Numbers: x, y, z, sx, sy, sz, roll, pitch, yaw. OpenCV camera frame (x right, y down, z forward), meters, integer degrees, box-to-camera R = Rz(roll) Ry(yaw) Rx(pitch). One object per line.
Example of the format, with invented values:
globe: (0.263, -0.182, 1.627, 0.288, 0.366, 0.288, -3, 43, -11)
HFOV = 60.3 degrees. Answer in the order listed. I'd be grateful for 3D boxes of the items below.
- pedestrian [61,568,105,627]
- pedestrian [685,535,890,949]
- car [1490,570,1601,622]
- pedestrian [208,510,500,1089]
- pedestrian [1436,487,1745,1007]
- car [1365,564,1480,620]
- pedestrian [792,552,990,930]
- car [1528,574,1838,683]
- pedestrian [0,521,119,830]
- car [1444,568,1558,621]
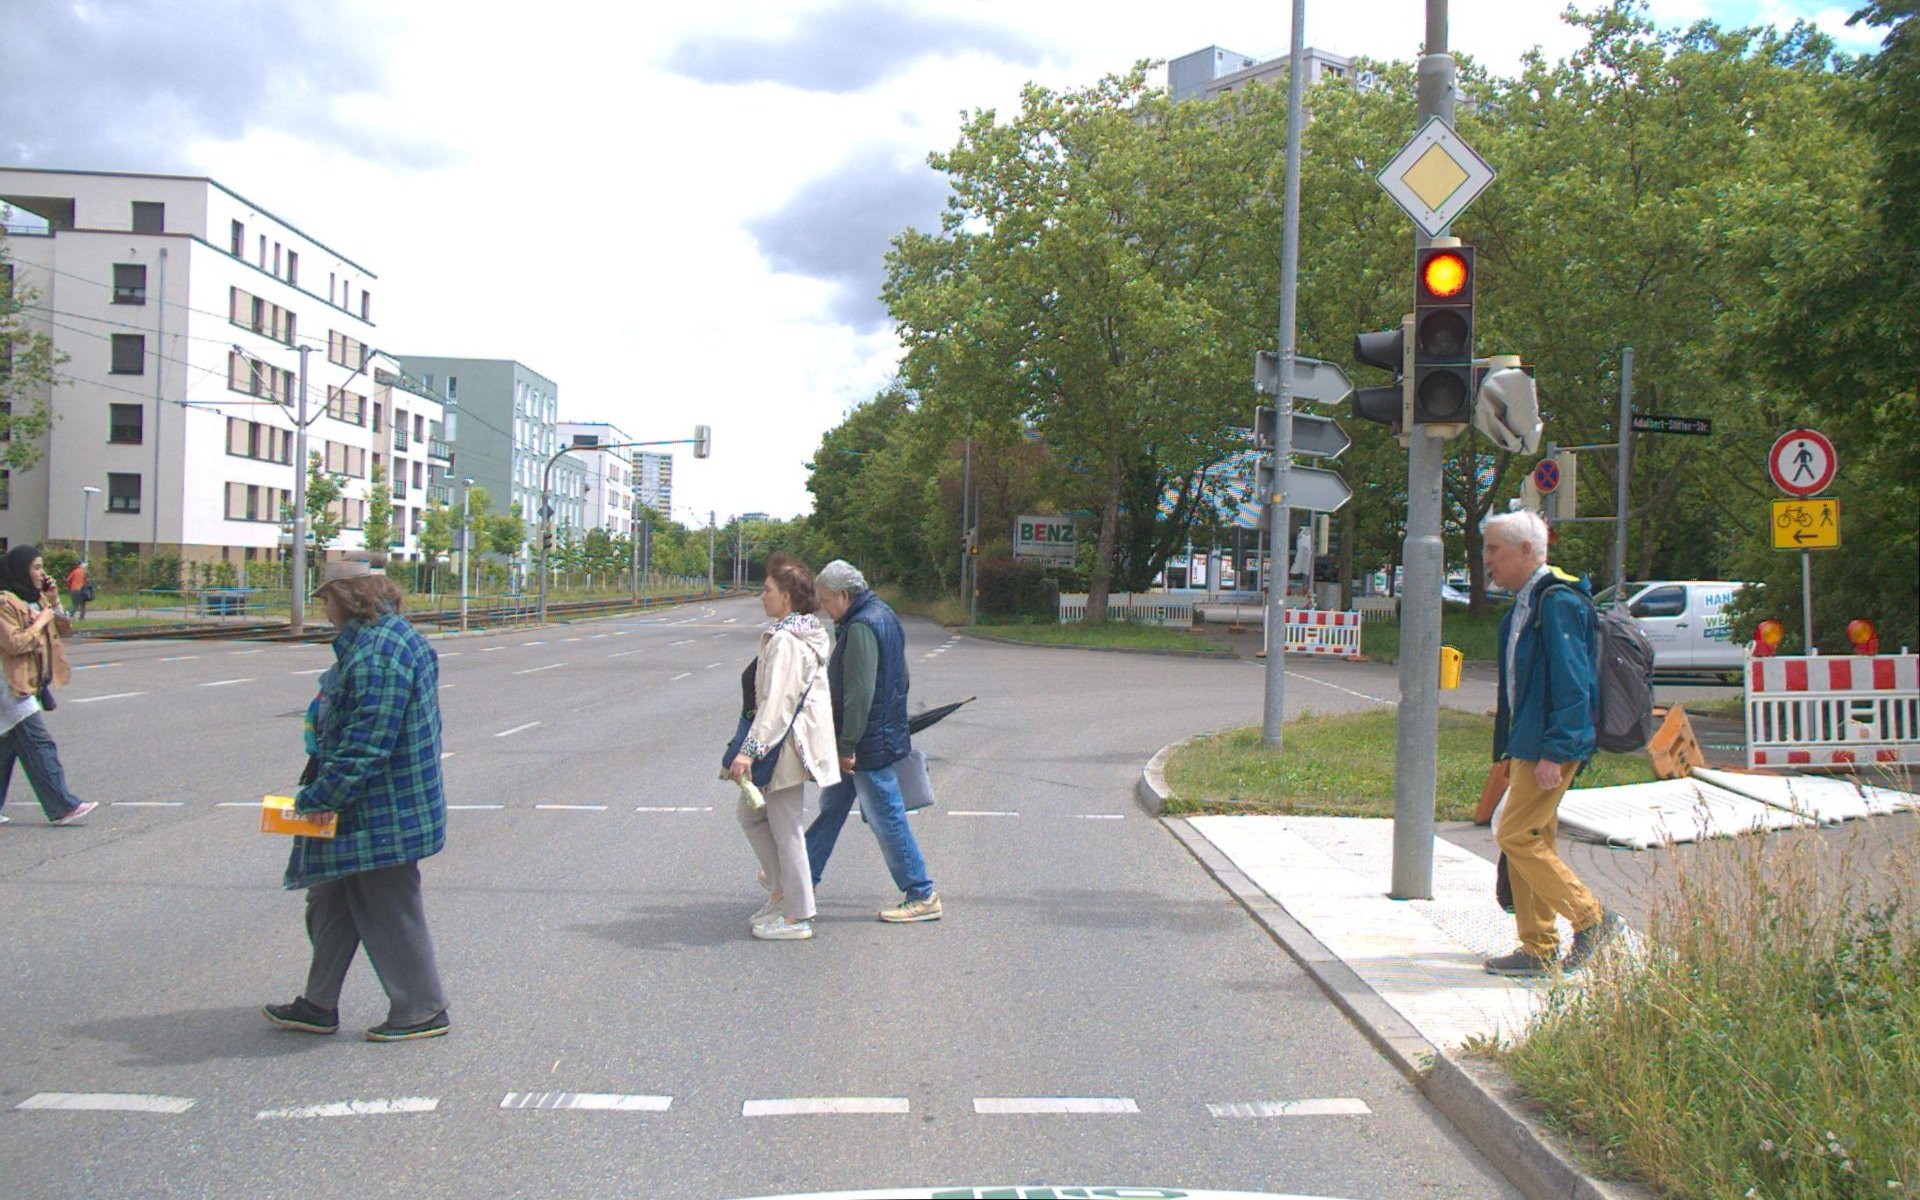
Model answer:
pedestrian: (-23.119, -0.076, 43.616, 0.814, 1.542, 0.636, 1, 0, -1)
pedestrian: (-0.744, 0.573, 7.088, 0.807, 1.668, 0.732, 1, 0, -8)
car: (23.933, -0.179, 67.704, 1.974, 2.049, 3.957, 0, 1, -32)
pedestrian: (-1.922, 0.584, 5.326, 0.809, 1.700, 0.730, 1, 0, -18)
pedestrian: (2.359, 0.499, 6.333, 0.988, 1.805, 0.949, 1, 0, 15)
car: (17.522, -0.311, 62.834, 1.974, 2.049, 3.957, 0, 1, -32)
pedestrian: (-0.316, 0.623, 7.687, 0.851, 1.663, 0.765, 1, 0, -2)
car: (13.427, 0.504, 30.868, 4.976, 1.906, 1.947, 1, 0, -5)
pedestrian: (-5.577, 0.428, 9.877, 0.768, 1.773, 0.826, 1, 0, -11)
car: (21.366, -0.231, 65.468, 1.974, 2.049, 3.957, 0, 1, -32)
